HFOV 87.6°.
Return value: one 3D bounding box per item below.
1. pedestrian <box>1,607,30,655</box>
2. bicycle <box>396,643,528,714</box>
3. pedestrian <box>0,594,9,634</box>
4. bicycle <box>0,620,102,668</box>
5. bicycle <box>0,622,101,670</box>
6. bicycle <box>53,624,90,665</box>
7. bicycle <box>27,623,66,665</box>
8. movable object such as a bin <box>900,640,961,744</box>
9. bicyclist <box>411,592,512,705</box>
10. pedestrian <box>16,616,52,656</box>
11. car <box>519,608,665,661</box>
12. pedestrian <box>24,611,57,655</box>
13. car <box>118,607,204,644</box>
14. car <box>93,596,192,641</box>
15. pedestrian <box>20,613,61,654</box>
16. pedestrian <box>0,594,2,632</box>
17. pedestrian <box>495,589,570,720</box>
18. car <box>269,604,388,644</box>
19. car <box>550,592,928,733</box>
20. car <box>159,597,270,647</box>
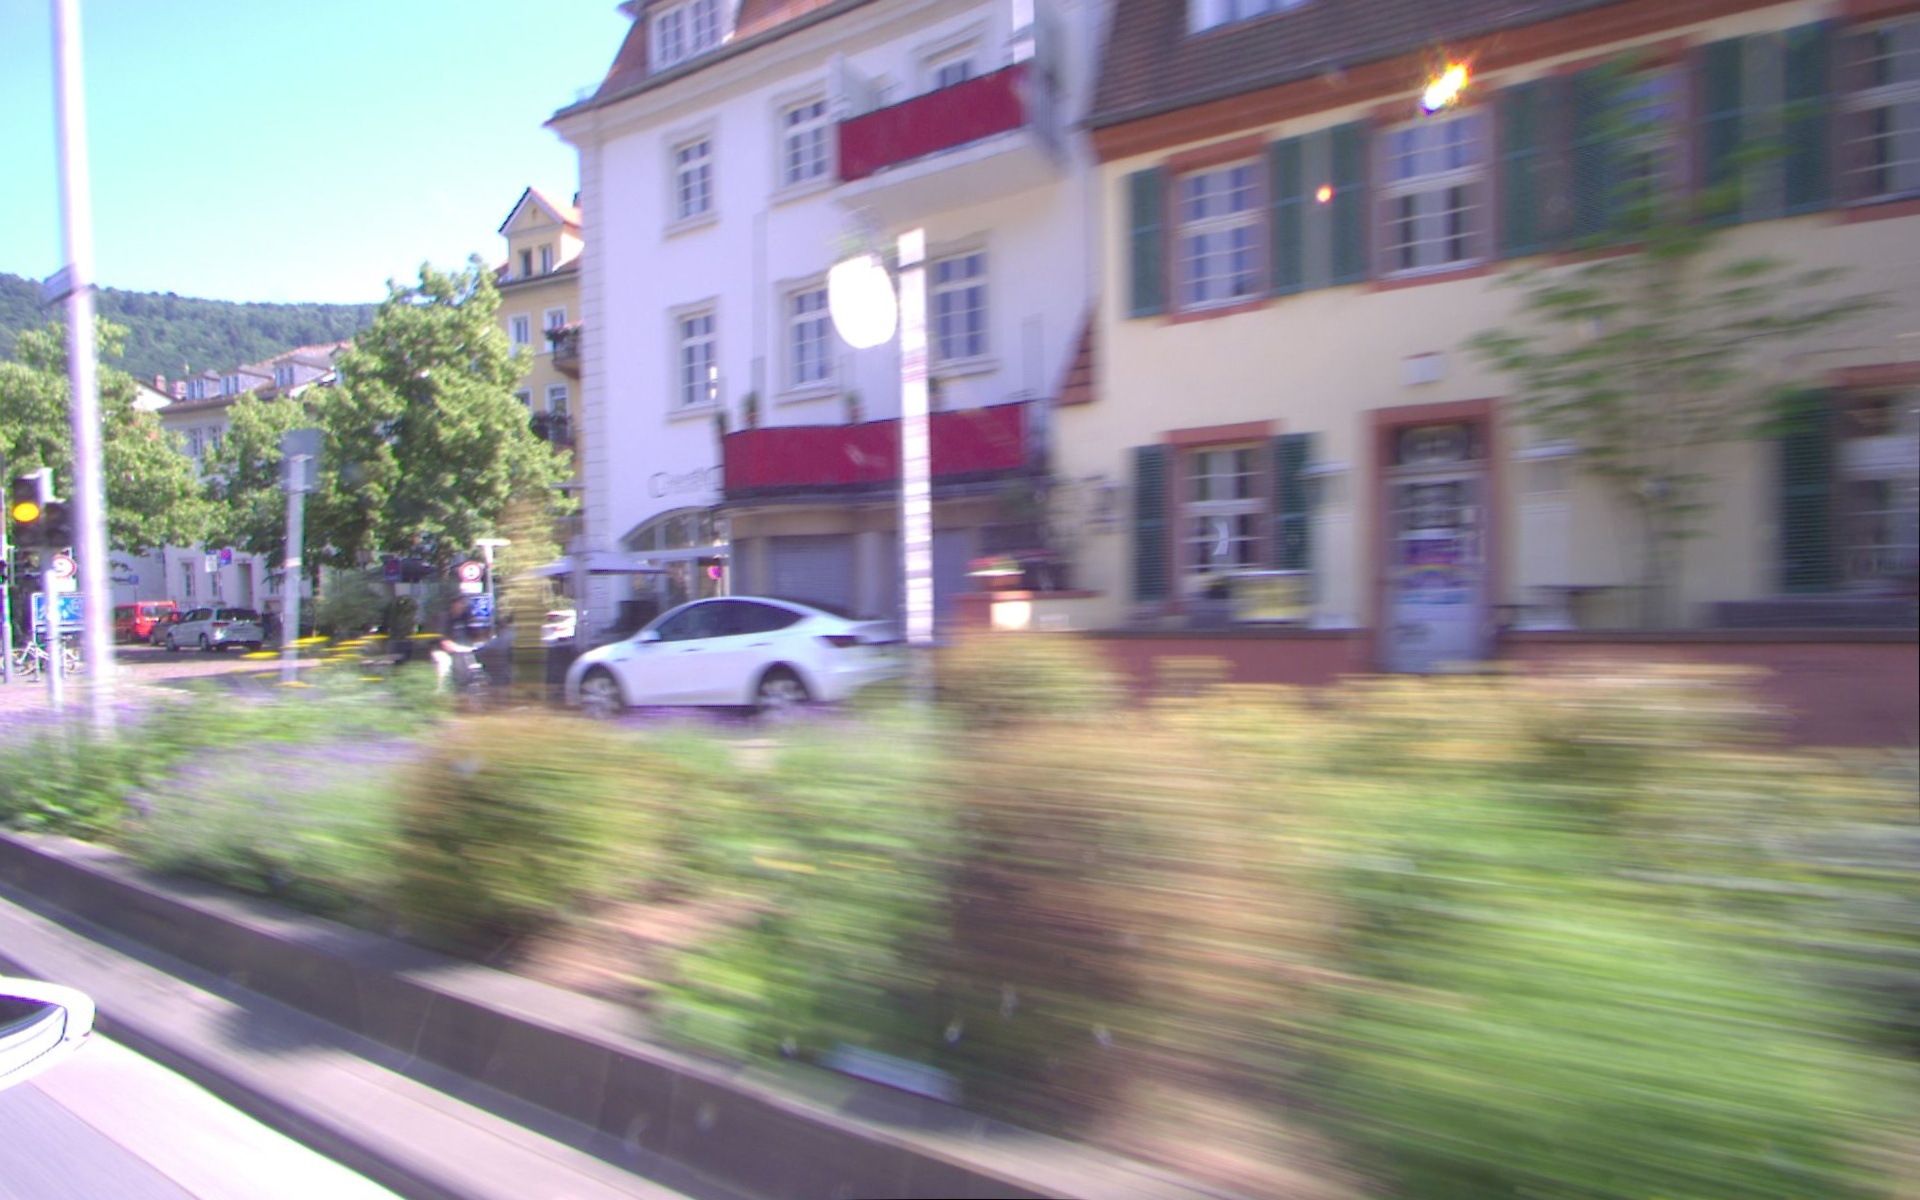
[{"bbox_3d":[-30.550,1.008,32.388,0.679,1.537,0.459,0,0,25],"label":"pedestrian"},{"bbox_3d":[-7.326,1.138,14.742,1.751,0.976,0.750,-1,0,21],"label":"bicycle"},{"bbox_3d":[-49.494,0.704,51.536,0.635,2.041,0.633,0,2,32],"label":"pedestrian"},{"bbox_3d":[-24.140,1.155,26.603,0.516,1.214,2.000,0,0,44],"label":"bicycle"},{"bbox_3d":[-23.826,1.192,26.204,0.516,1.214,1.987,0,-1,44],"label":"bicycle"},{"bbox_3d":[-24.684,1.230,27.843,0.589,1.081,2.050,-3,0,-38],"label":"bicycle"},{"bbox_3d":[-25.136,1.191,27.583,0.589,1.082,2.049,-3,1,-38],"label":"bicycle"},{"bbox_3d":[-0.320,1.002,11.069,0.359,1.081,0.639,0,1,33],"label":"movable object such as a bin"},{"bbox_3d":[-7.314,0.695,14.716,1.070,1.605,0.767,-1,1,19],"label":"bicyclist"},{"bbox_3d":[-30.466,1.172,32.946,0.742,1.298,0.626,0,-1,25],"label":"pedestrian"},{"bbox_3d":[-11.220,0.996,30.782,1.806,1.475,3.980,1,0,31],"label":"car"},{"bbox_3d":[-29.944,1.080,32.610,0.533,1.400,0.626,0,-1,25],"label":"pedestrian"},{"bbox_3d":[-33.481,1.068,41.941,3.420,1.451,1.671,-1,0,30],"label":"car"},{"bbox_3d":[-37.067,0.830,45.398,4.565,1.928,1.990,0,1,31],"label":"car"},{"bbox_3d":[-29.429,1.067,32.060,0.752,1.269,0.693,0,1,25],"label":"pedestrian"},{"bbox_3d":[-51.286,0.689,53.062,0.588,2.041,0.584,0,2,32],"label":"pedestrian"},{"bbox_3d":[-6.422,0.799,15.059,0.600,1.884,0.761,0,3,25],"label":"pedestrian"},{"bbox_3d":[-25.310,0.929,40.260,1.597,1.451,3.734,0,1,30],"label":"car"},{"bbox_3d":[-2.929,0.748,13.189,4.649,1.598,1.878,-1,0,24],"label":"car"},{"bbox_3d":[-27.701,0.784,37.183,4.502,1.752,1.765,0,1,32],"label":"car"}]
